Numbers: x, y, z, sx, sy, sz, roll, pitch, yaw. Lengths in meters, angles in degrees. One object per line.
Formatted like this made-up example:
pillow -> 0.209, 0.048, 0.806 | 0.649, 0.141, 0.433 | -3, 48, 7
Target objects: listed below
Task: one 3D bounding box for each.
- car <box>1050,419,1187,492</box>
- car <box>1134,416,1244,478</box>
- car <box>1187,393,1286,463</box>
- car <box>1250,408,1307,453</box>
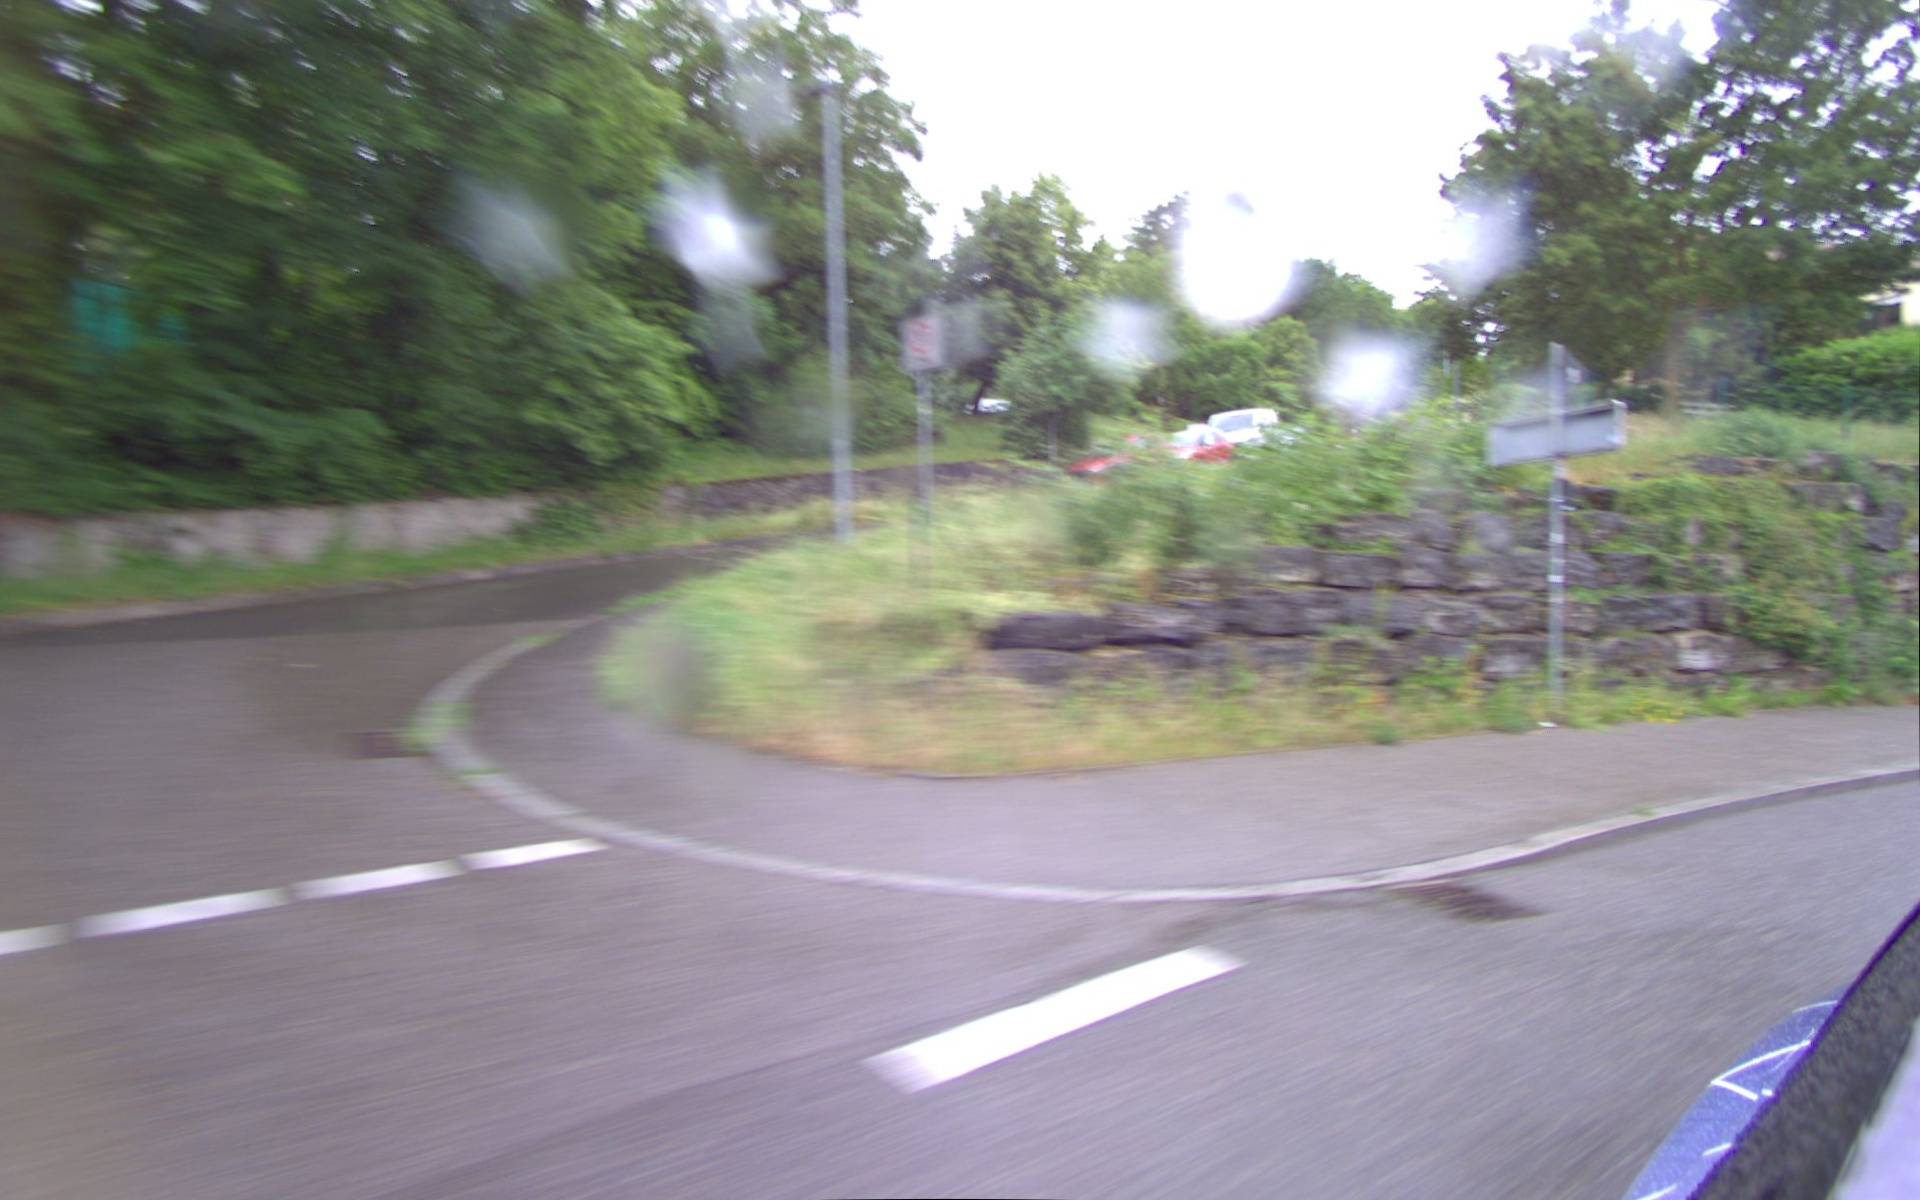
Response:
car -> 4.428, -3.998, 27.855 | 1.869, 1.524, 3.952 | 2, 13, 41
car -> 7.113, -4.740, 31.143 | 1.865, 1.418, 3.961 | 1, 12, 35
car -> 9.898, -6.158, 35.833 | 2.250, 1.964, 5.417 | -1, 11, 28
car -> 12.802, -6.821, 40.561 | 1.854, 1.418, 3.983 | -2, 11, 22
